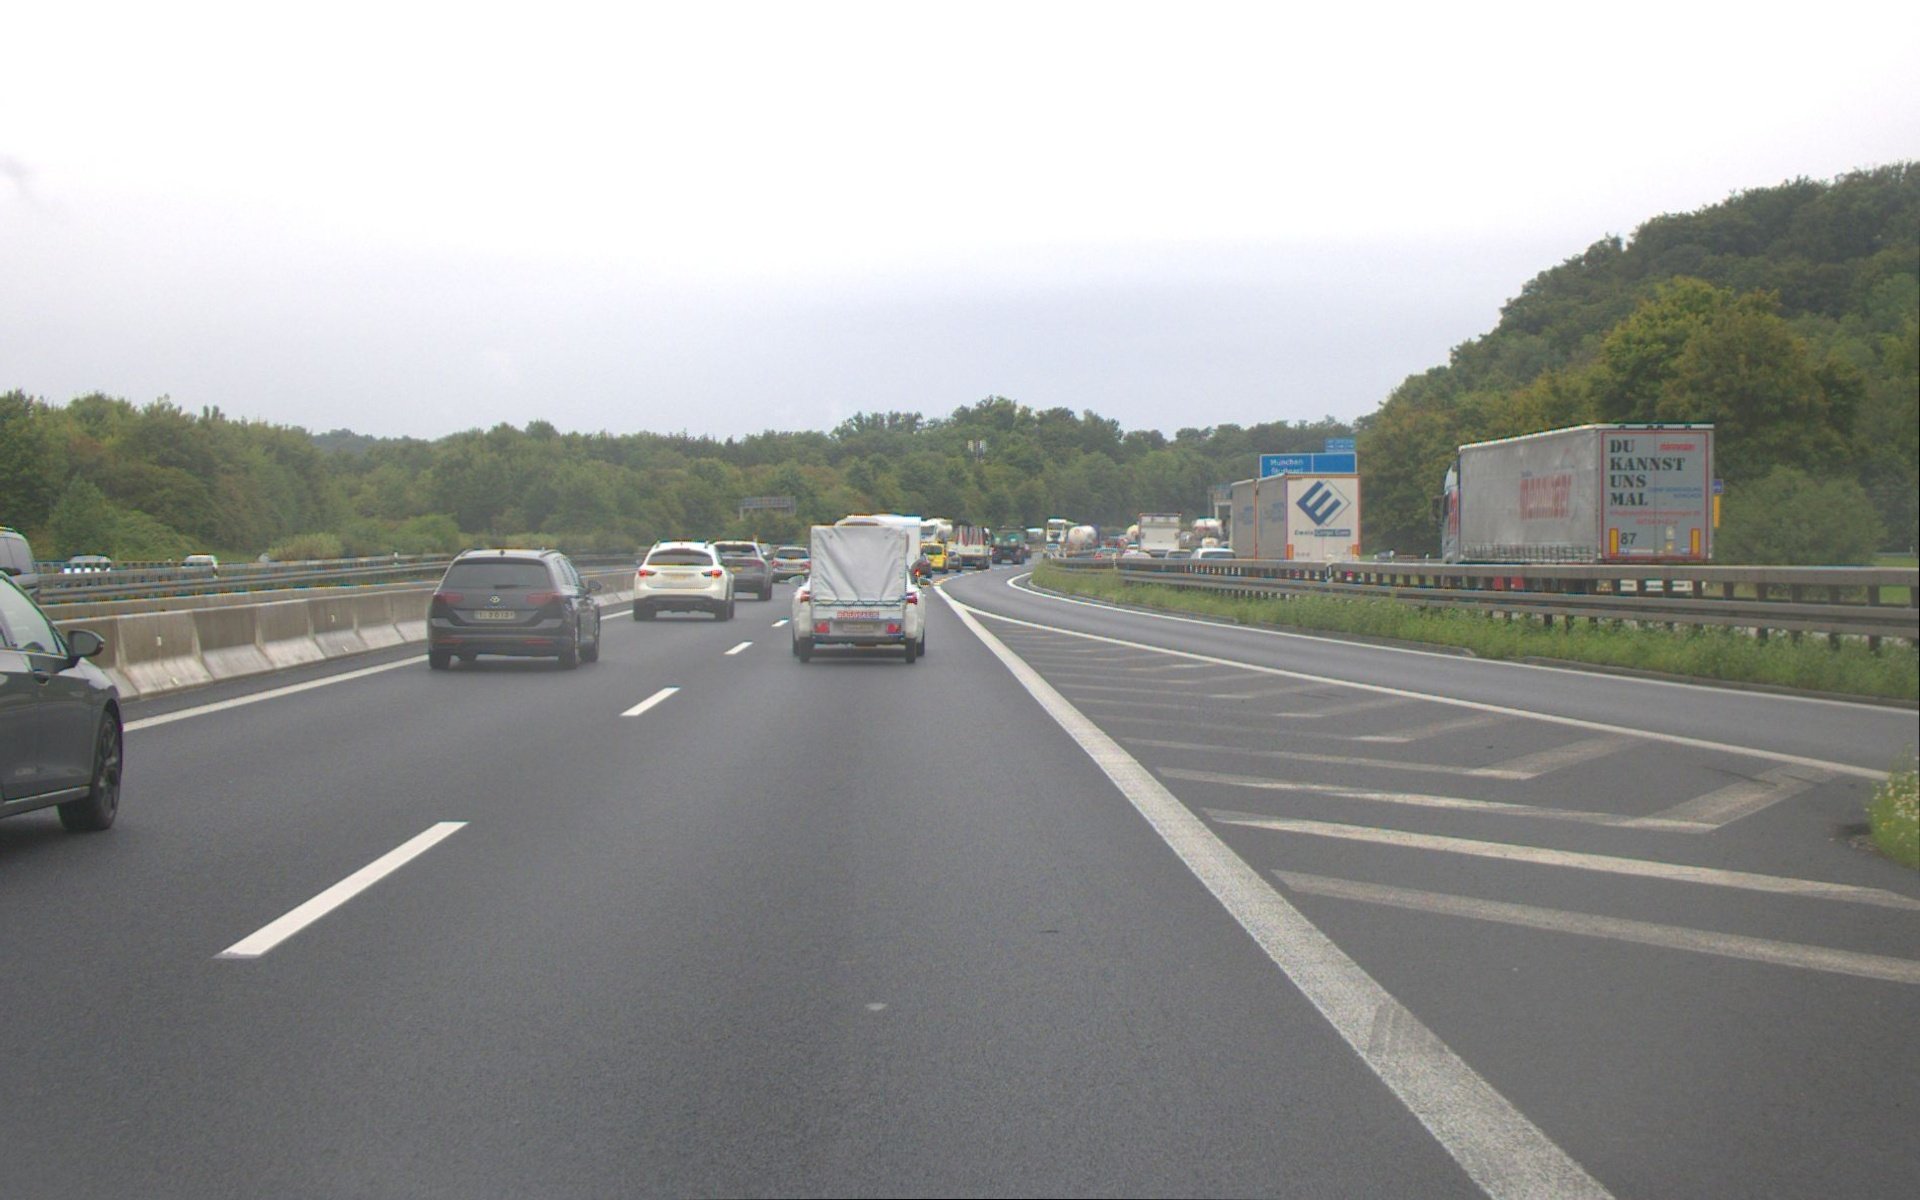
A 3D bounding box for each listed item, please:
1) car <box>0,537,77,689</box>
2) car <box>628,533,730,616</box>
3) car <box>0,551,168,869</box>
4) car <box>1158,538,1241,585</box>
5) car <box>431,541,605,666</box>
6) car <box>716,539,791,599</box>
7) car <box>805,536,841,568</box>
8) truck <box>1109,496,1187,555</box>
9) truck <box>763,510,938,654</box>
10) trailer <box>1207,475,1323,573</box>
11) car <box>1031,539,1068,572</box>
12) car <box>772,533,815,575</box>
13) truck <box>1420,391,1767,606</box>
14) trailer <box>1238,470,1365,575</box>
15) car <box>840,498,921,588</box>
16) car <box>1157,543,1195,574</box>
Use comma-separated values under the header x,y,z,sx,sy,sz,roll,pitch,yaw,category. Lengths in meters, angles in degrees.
x,y,z,sx,sy,sz,roll,pitch,yaw,category
-13.714,0.155,46.888,1.993,2.007,5.099,0,1,0,car
-5.898,-0.554,71.973,2.048,1.665,4.542,1,1,-5,car
-5.233,0.472,16.633,1.830,1.420,4.368,1,1,-1,car
8.489,-1.370,122.062,1.993,1.611,5.080,0,1,-7,car
-5.498,0.003,43.245,1.787,1.454,4.803,1,1,-3,car
-5.990,-0.916,100.253,1.975,1.697,4.803,1,1,-1,car
-7.289,-2.573,183.627,1.819,1.656,4.017,0,1,-1,car
11.959,-4.717,219.245,3.824,3.646,8.273,1,1,-5,truck
-1.487,-0.249,47.355,2.242,1.833,6.585,0,0,-1,truck
11.362,-2.815,128.974,2.937,3.515,8.421,1,1,-4,trailer
4.395,-2.182,169.863,1.645,1.568,4.000,1,1,-1,car
-7.338,-2.051,151.737,1.738,1.787,4.000,1,1,-1,car
14.492,-2.239,80.925,3.820,4.525,16.888,0,1,-4,truck
11.905,-2.693,120.716,3.078,3.515,8.086,1,1,-4,trailer
-2.530,-1.775,107.352,2.331,2.716,6.541,0,1,-3,car
11.227,-2.161,178.730,1.645,1.568,4.000,1,1,-1,car
